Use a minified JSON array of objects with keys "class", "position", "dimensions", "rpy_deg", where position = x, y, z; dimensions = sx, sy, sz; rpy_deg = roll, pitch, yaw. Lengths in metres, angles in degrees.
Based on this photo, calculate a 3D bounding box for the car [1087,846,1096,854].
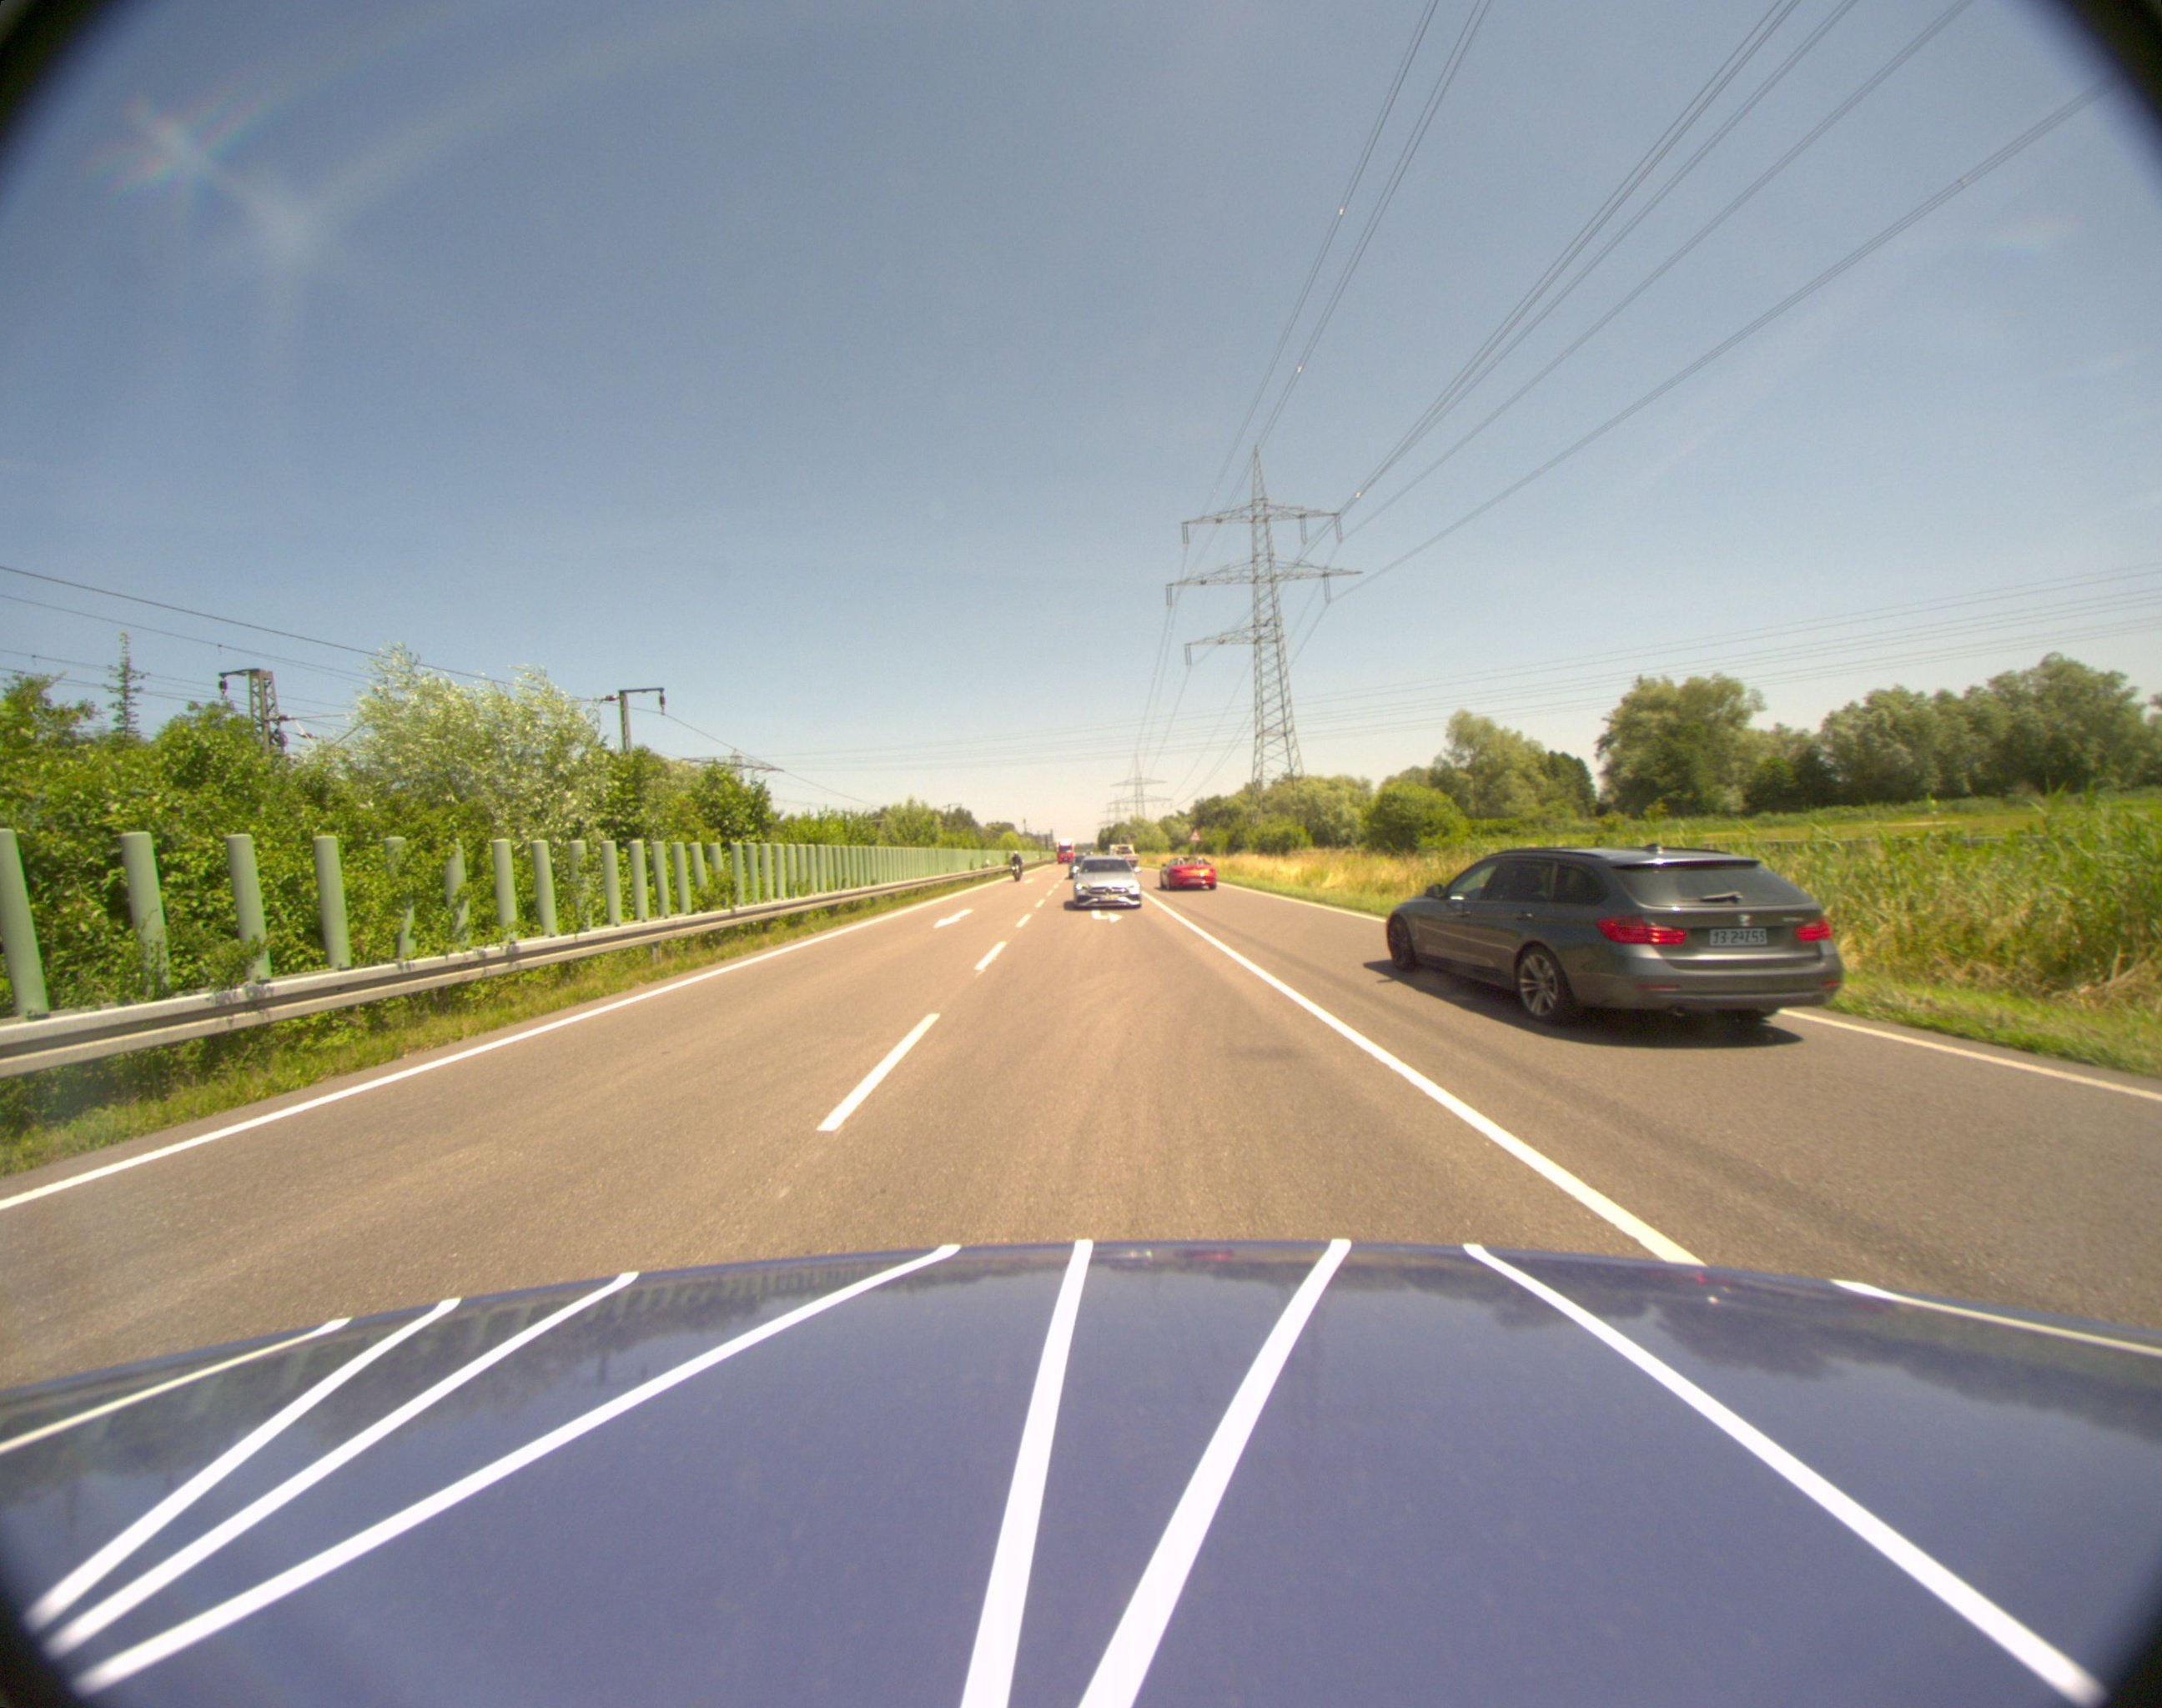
[{"class":"car","position":[2.962,-1.194,216.715],"dimensions":[2.145,2.002,4.568],"rpy_deg":[-3,1,-2]}]

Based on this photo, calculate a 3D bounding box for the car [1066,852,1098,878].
[{"class":"car","position":[0.106,0.646,45.313],"dimensions":[1.698,1.385,4.467],"rpy_deg":[-2,1,2]}]

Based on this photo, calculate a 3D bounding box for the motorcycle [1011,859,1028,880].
[{"class":"motorcycle","position":[-3.552,0.884,44.017],"dimensions":[0.792,1.151,1.901],"rpy_deg":[-3,1,0]}]

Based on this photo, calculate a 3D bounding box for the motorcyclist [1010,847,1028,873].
[{"class":"motorcyclist","position":[-3.578,0.335,43.960],"dimensions":[0.892,1.468,1.002],"rpy_deg":[-2,1,1]}]

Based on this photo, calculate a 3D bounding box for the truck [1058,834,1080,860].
[{"class":"truck","position":[-1.823,-1.045,114.746],"dimensions":[2.907,3.641,7.155],"rpy_deg":[-4,1,1]}]

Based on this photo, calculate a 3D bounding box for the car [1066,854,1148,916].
[{"class":"car","position":[0.686,0.782,21.136],"dimensions":[1.998,1.437,4.467],"rpy_deg":[-2,1,1]}]

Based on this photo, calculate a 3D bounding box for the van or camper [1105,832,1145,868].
[{"class":"van or camper","position":[3.688,-0.417,65.410],"dimensions":[2.578,2.865,6.744],"rpy_deg":[-2,1,-3]}]

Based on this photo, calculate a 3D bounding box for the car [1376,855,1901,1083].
[{"class":"car","position":[4.552,0.768,7.209],"dimensions":[1.749,1.425,4.321],"rpy_deg":[-2,0,-1]}]

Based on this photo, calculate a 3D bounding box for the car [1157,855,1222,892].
[{"class":"car","position":[4.161,0.711,29.790],"dimensions":[1.864,1.221,4.322],"rpy_deg":[-2,0,-1]}]
